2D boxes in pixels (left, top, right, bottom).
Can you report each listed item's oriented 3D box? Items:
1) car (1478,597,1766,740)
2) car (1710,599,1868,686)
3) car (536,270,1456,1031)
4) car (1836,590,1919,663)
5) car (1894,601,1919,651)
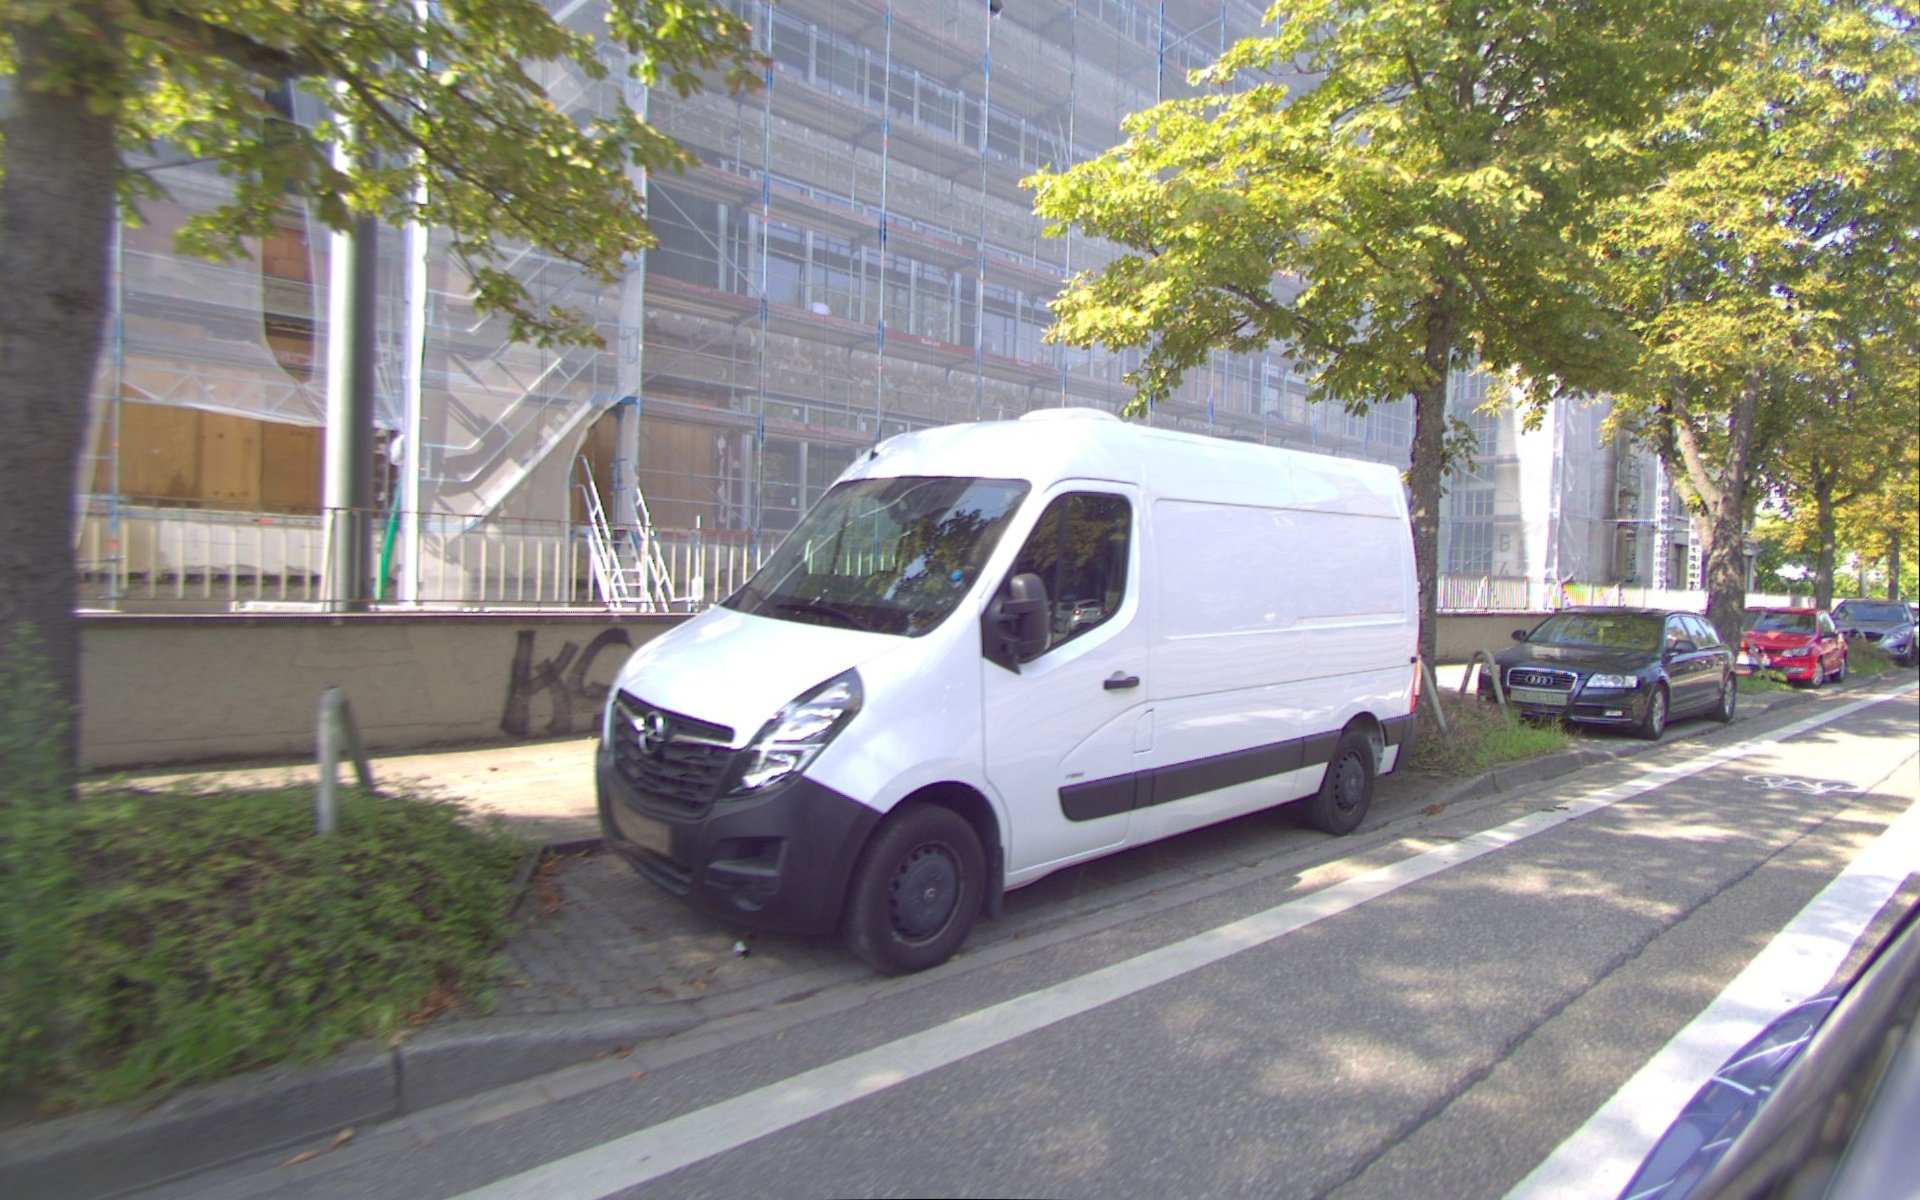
[{"bbox_3d":[8.250,0.699,12.421,4.741,1.391,1.620,0,2,-40],"label":"car"},{"bbox_3d":[15.927,0.734,19.386,3.929,1.431,1.620,0,2,-40],"label":"car"},{"bbox_3d":[0.647,0.102,6.008,5.407,2.582,2.087,0,5,-42],"label":"car"},{"bbox_3d":[23.906,0.641,25.891,4.321,1.713,1.756,1,0,-42],"label":"car"},{"bbox_3d":[31.557,0.851,32.661,3.671,1.503,1.580,0,3,-40],"label":"car"}]
